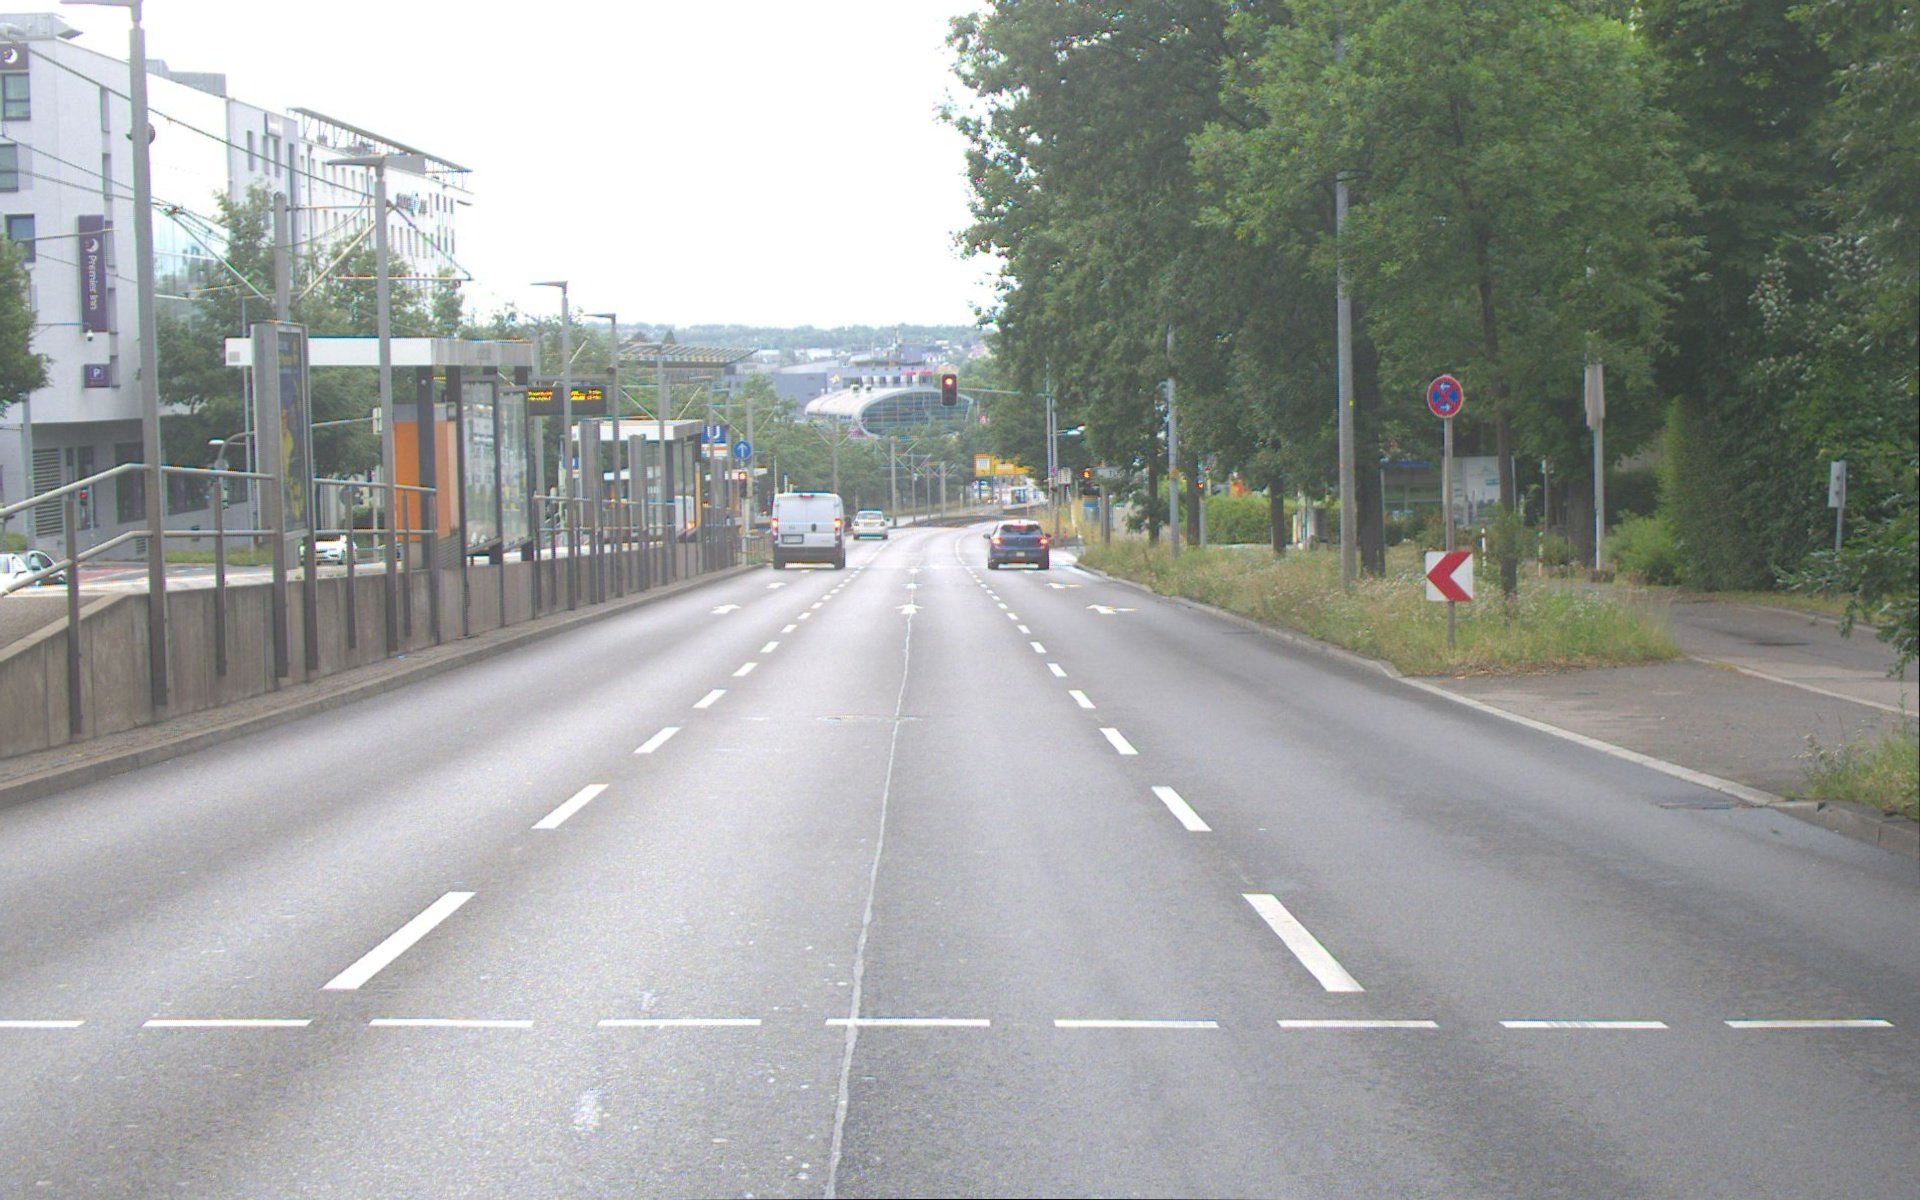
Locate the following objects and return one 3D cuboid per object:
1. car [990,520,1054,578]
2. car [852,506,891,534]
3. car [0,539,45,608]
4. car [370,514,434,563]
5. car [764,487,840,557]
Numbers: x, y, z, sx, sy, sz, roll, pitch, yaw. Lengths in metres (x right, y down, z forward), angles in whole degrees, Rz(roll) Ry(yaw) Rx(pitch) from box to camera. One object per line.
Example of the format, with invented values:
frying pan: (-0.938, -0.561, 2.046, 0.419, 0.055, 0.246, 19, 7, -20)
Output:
car: (1.832, -1.538, 102.648, 1.774, 1.685, 3.846, 0, 1, -1)
car: (-4.509, -4.084, 174.938, 1.783, 1.385, 4.000, 0, 1, 1)
car: (-21.056, -0.559, 74.314, 1.650, 1.431, 3.880, -3, 1, -3)
car: (-17.537, -1.928, 107.888, 1.650, 1.431, 3.881, -3, 1, -13)
car: (-4.683, -2.331, 102.481, 2.093, 2.046, 4.607, 0, 1, -1)
